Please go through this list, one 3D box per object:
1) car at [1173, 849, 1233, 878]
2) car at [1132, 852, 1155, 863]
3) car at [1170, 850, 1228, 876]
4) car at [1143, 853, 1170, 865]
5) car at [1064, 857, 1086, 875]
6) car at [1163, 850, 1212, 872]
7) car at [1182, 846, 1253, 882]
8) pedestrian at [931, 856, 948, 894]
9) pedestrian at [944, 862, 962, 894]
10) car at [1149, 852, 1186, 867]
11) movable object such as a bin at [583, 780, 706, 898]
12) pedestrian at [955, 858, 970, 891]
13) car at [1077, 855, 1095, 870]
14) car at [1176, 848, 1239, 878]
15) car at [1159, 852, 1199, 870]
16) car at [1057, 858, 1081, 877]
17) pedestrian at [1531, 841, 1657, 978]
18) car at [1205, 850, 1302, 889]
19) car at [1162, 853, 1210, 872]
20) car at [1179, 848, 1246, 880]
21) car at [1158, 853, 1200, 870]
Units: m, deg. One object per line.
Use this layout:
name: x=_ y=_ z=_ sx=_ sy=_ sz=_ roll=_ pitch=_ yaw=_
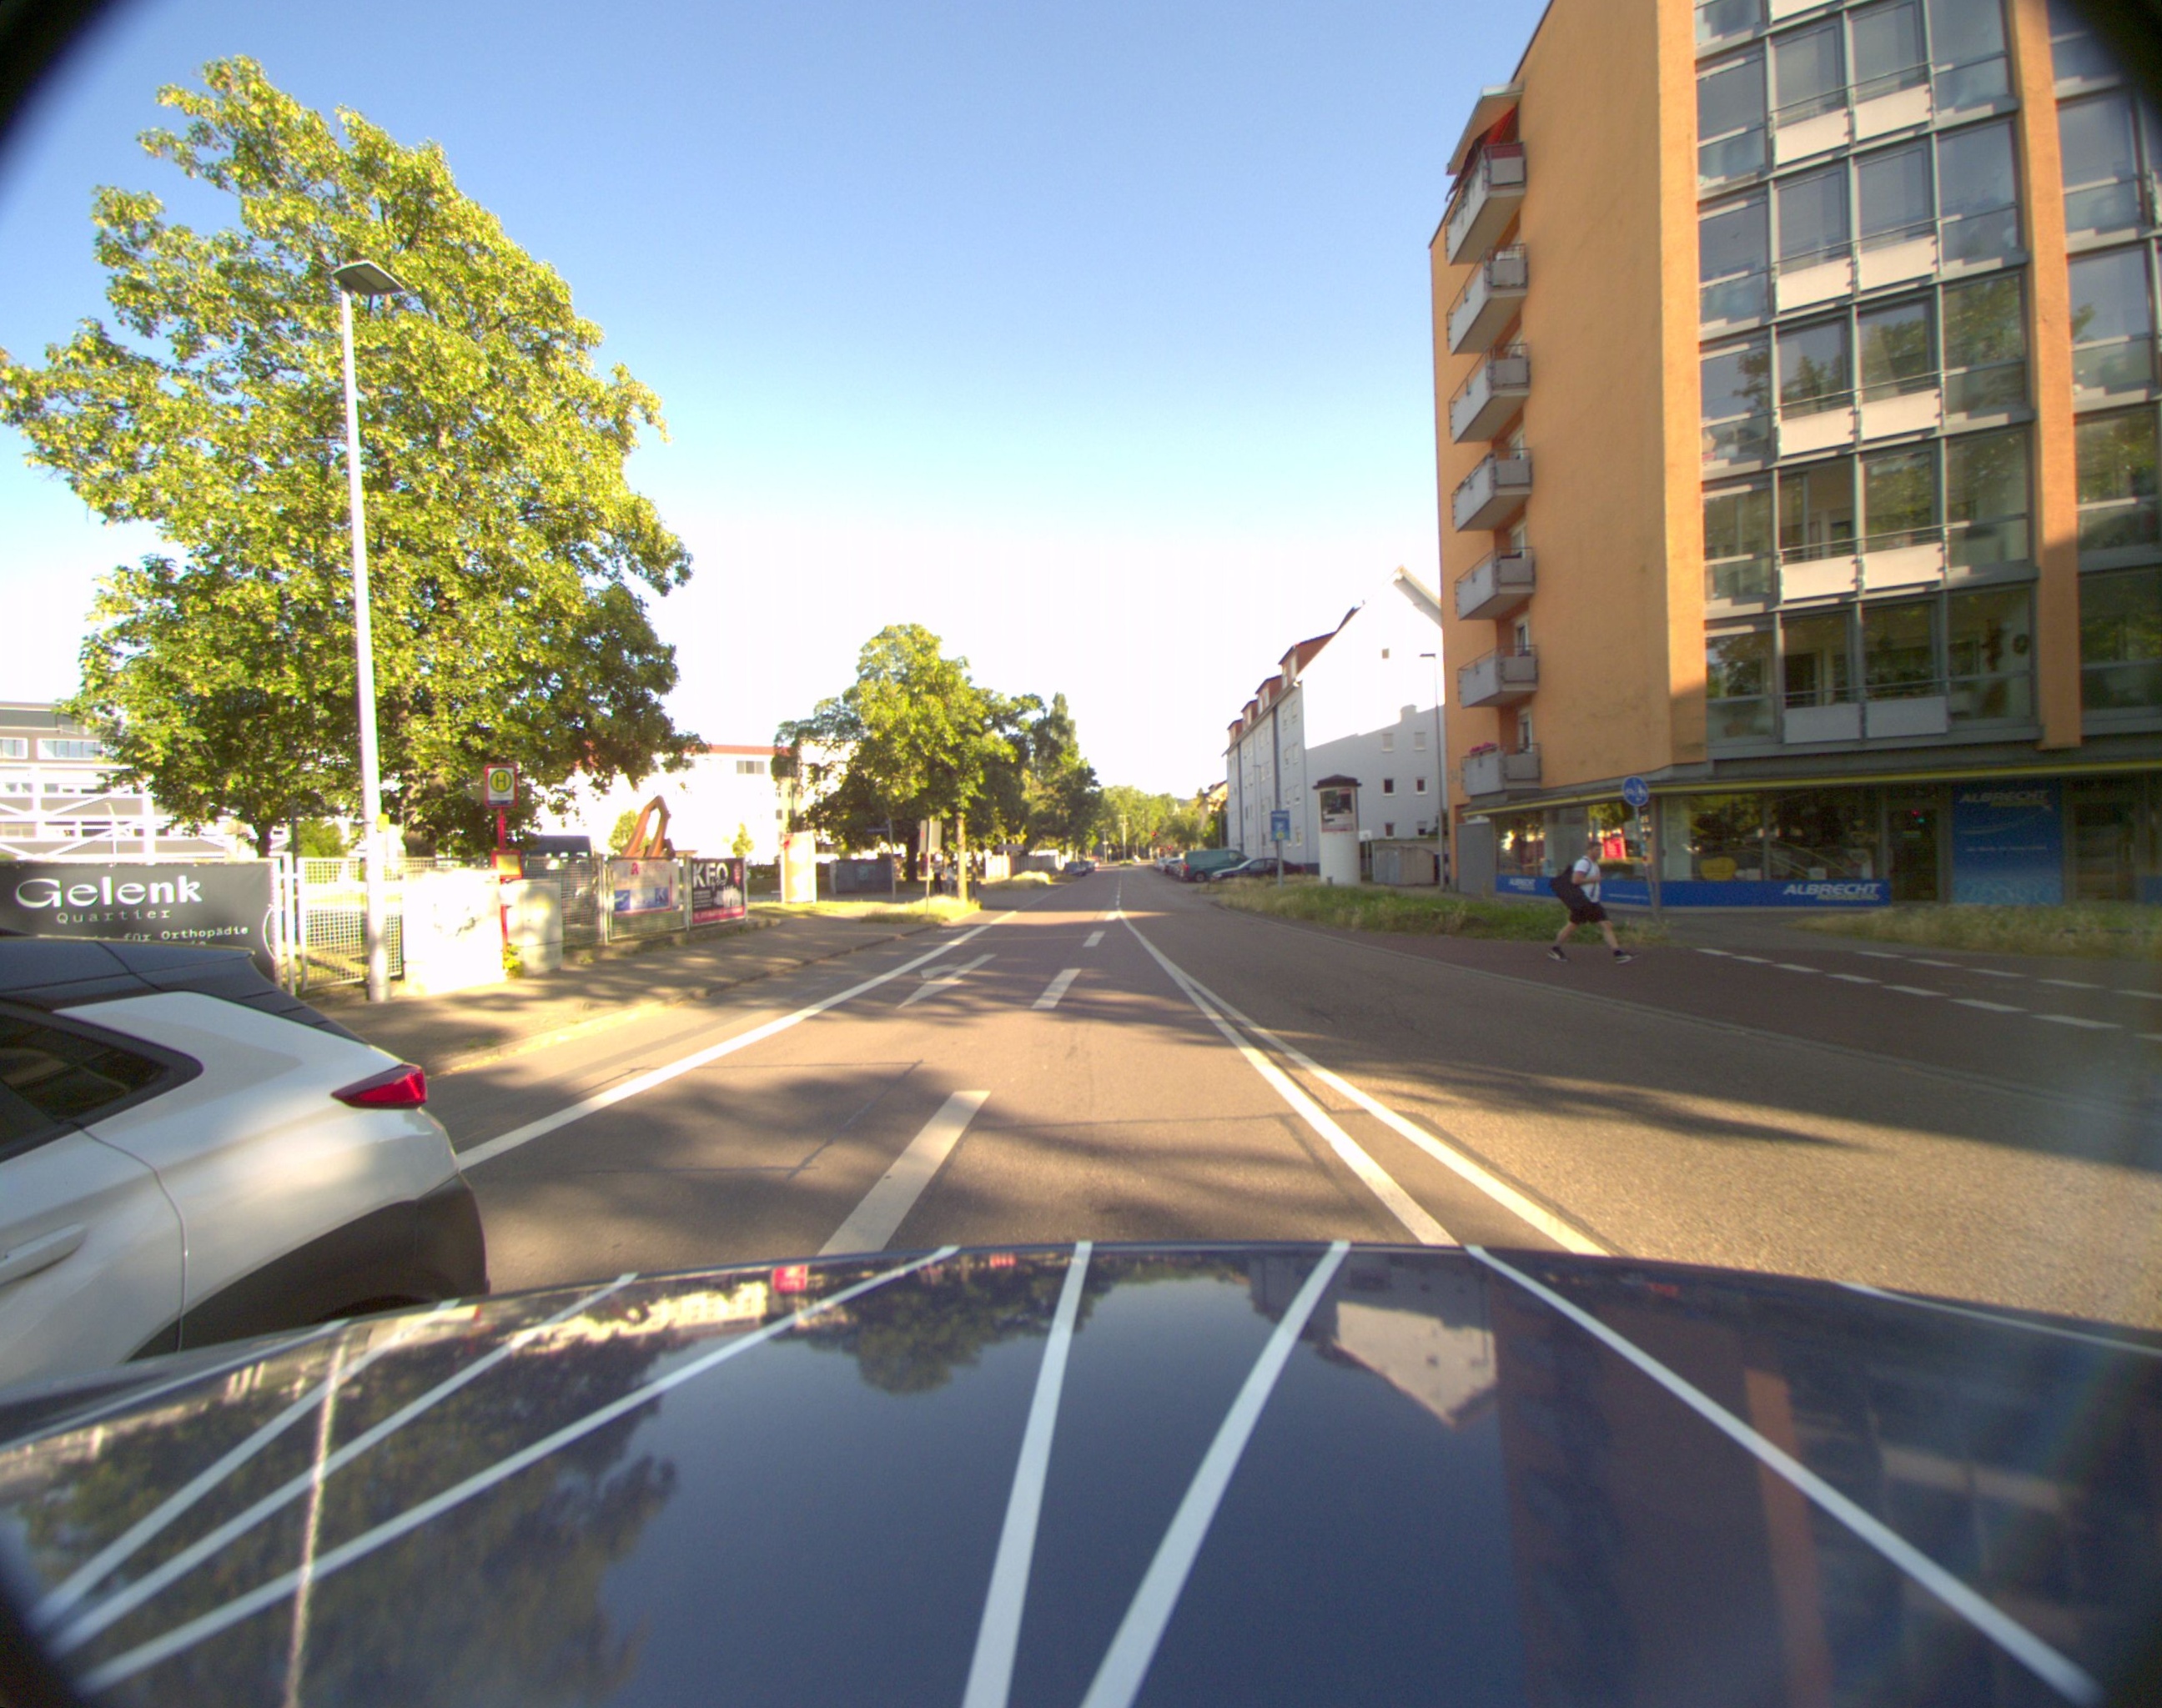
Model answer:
car: x=8.567 y=0.662 z=53.698 sx=4.059 sy=1.805 sz=1.937 roll=-2 pitch=1 yaw=5
car: x=9.697 y=0.581 z=118.227 sx=3.538 sy=1.564 sz=1.867 roll=-2 pitch=1 yaw=5
car: x=8.743 y=0.657 z=56.442 sx=4.071 sy=1.741 sz=1.899 roll=-2 pitch=1 yaw=5
car: x=10.461 y=0.696 z=105.246 sx=3.538 sy=1.564 sz=1.867 roll=-2 pitch=1 yaw=5
car: x=-0.591 y=1.145 z=73.948 sx=1.998 sy=1.521 sz=3.999 roll=-2 pitch=1 yaw=1
car: x=9.270 y=0.602 z=66.492 sx=4.117 sy=1.762 sz=1.757 roll=-2 pitch=1 yaw=5
car: x=8.190 y=0.588 z=45.943 sx=3.996 sy=1.936 sz=2.000 roll=-2 pitch=1 yaw=4
pedestrian: x=-6.544 y=0.978 z=35.172 sx=0.609 sy=1.727 sz=0.638 roll=-2 pitch=1 yaw=-5
pedestrian: x=-5.848 y=1.099 z=34.717 sx=0.609 sy=1.426 sz=0.639 roll=-2 pitch=1 yaw=1
car: x=10.218 y=0.638 z=90.194 sx=4.257 sy=1.564 sz=1.867 roll=-2 pitch=1 yaw=5
movable object such as a bin: x=-22.233 y=-0.706 z=38.553 sx=3.986 sy=5.447 sz=6.016 roll=-3 pitch=1 yaw=-42
pedestrian: x=-6.211 y=1.056 z=39.750 sx=0.696 sy=1.659 sz=0.638 roll=-2 pitch=1 yaw=-11
car: x=0.564 y=0.944 z=87.981 sx=1.998 sy=1.521 sz=3.999 roll=-2 pitch=1 yaw=1
car: x=8.496 y=0.582 z=51.347 sx=3.995 sy=1.805 sz=2.000 roll=-2 pitch=1 yaw=5
car: x=10.255 y=0.719 z=80.071 sx=4.071 sy=1.741 sz=1.899 roll=-2 pitch=1 yaw=5
car: x=-1.094 y=1.212 z=69.600 sx=1.998 sy=1.521 sz=3.999 roll=-2 pitch=1 yaw=1
pedestrian: x=7.013 y=0.713 z=10.430 sx=0.903 sy=1.727 sz=1.086 roll=-3 pitch=1 yaw=-21
car: x=8.293 y=0.727 z=36.878 sx=4.423 sy=1.652 sz=2.001 roll=-2 pitch=1 yaw=9
car: x=9.563 y=0.767 z=69.379 sx=4.257 sy=1.564 sz=1.867 roll=-2 pitch=1 yaw=5
car: x=8.352 y=0.618 z=48.591 sx=3.995 sy=1.805 sz=2.000 roll=-2 pitch=1 yaw=5
car: x=10.303 y=0.749 z=79.935 sx=4.257 sy=1.564 sz=1.867 roll=-2 pitch=1 yaw=5
